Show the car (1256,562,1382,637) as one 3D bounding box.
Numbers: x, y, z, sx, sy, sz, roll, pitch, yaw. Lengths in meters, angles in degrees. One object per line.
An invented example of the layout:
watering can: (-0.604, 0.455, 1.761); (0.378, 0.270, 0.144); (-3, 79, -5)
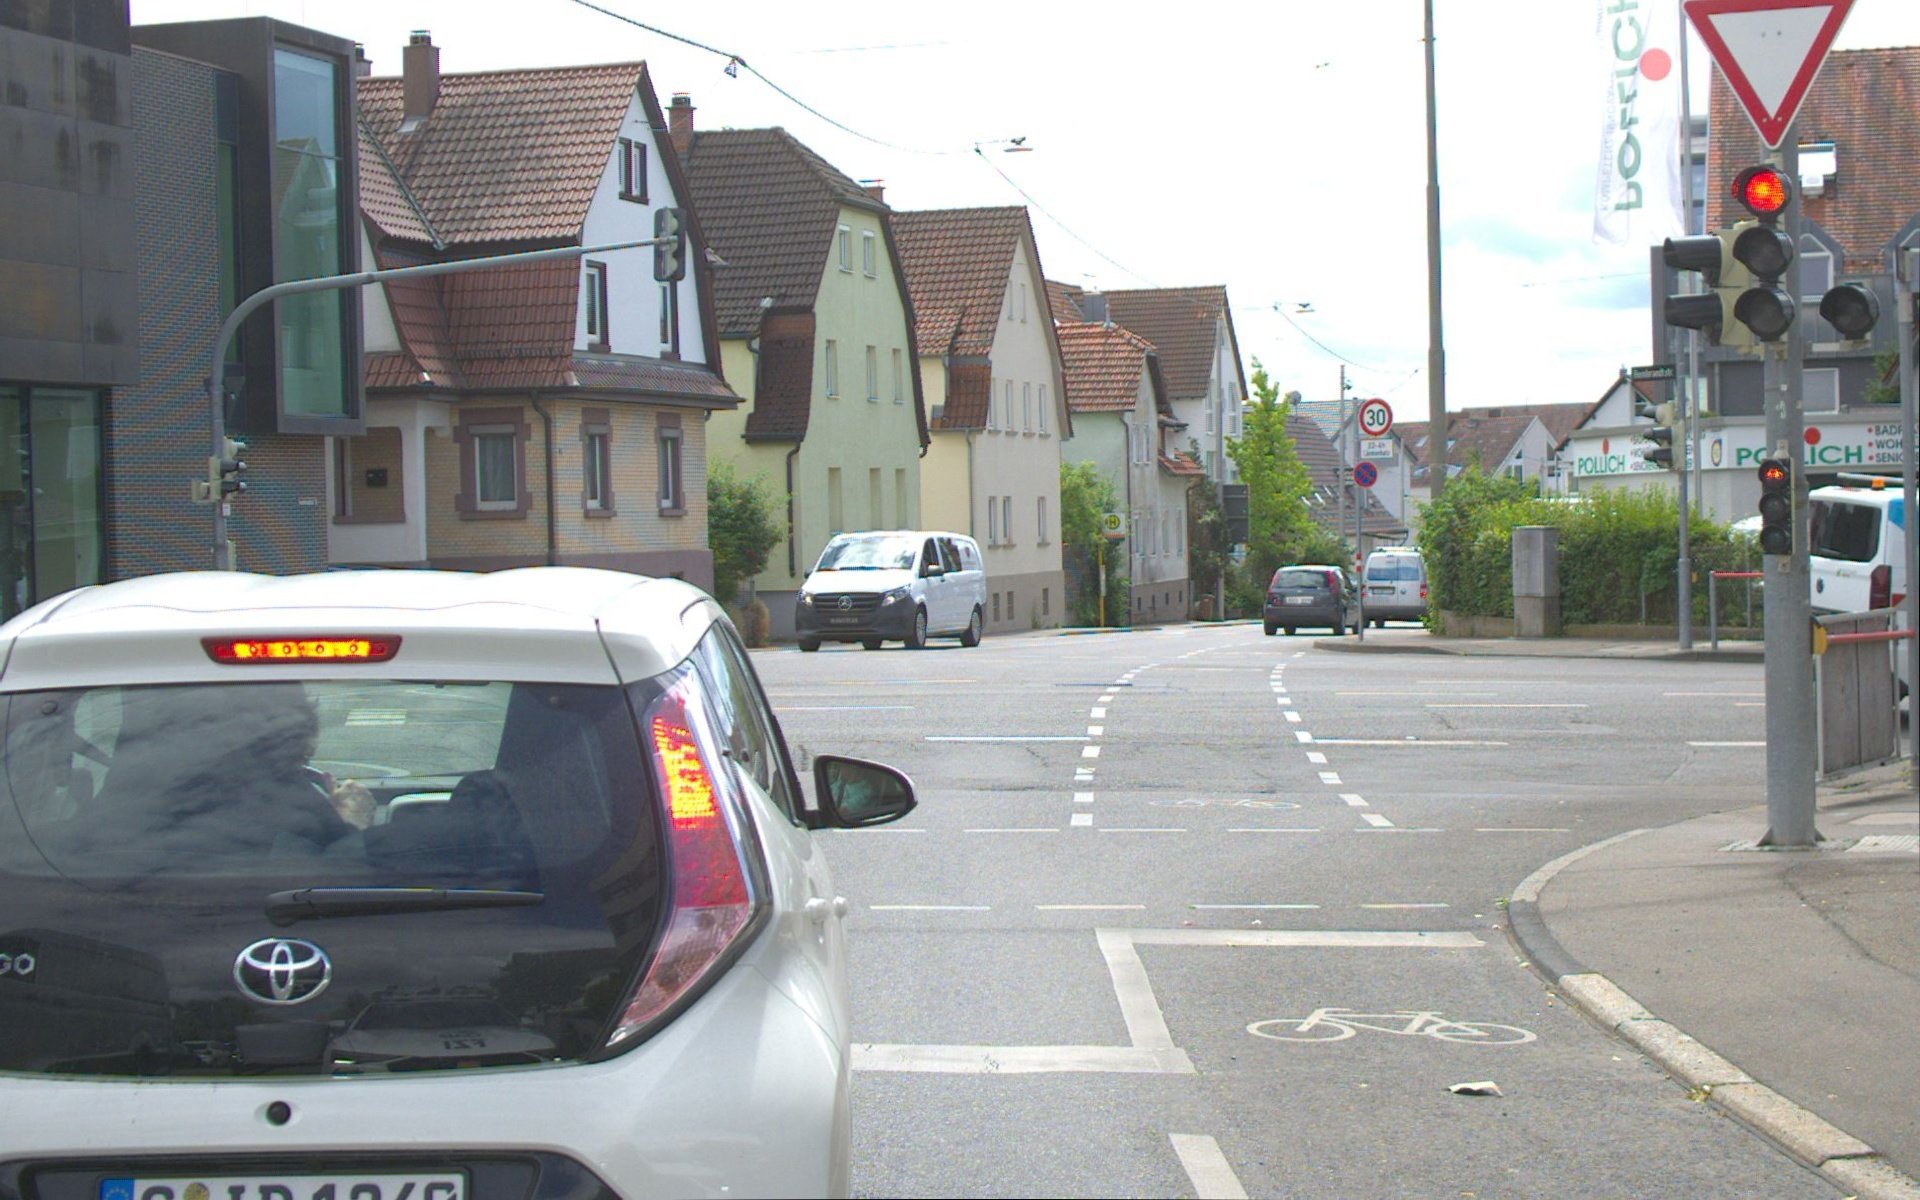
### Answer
car: (7.539, -0.037, 71.901); (1.995, 1.481, 3.997); (1, 1, 15)

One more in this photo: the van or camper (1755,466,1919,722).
van or camper: (9.593, -0.027, 29.188); (5.116, 2.070, 2.001); (1, 1, -9)

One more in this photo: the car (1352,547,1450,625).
car: (10.770, -0.362, 83.803); (1.995, 1.842, 4.071); (1, 1, 13)

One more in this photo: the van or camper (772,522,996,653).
van or camper: (-1.113, -0.226, 53.715); (2.117, 1.919, 5.282); (1, 1, 15)

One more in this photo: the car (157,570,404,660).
car: (-11.204, 0.231, 56.772); (3.616, 1.414, 1.691); (1, 1, 11)

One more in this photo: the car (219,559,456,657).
car: (-10.646, 0.113, 58.895); (3.616, 1.600, 1.691); (1, 1, 11)

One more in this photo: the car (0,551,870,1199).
car: (-1.046, 0.648, 6.270); (1.697, 1.451, 3.299); (1, 1, -2)
